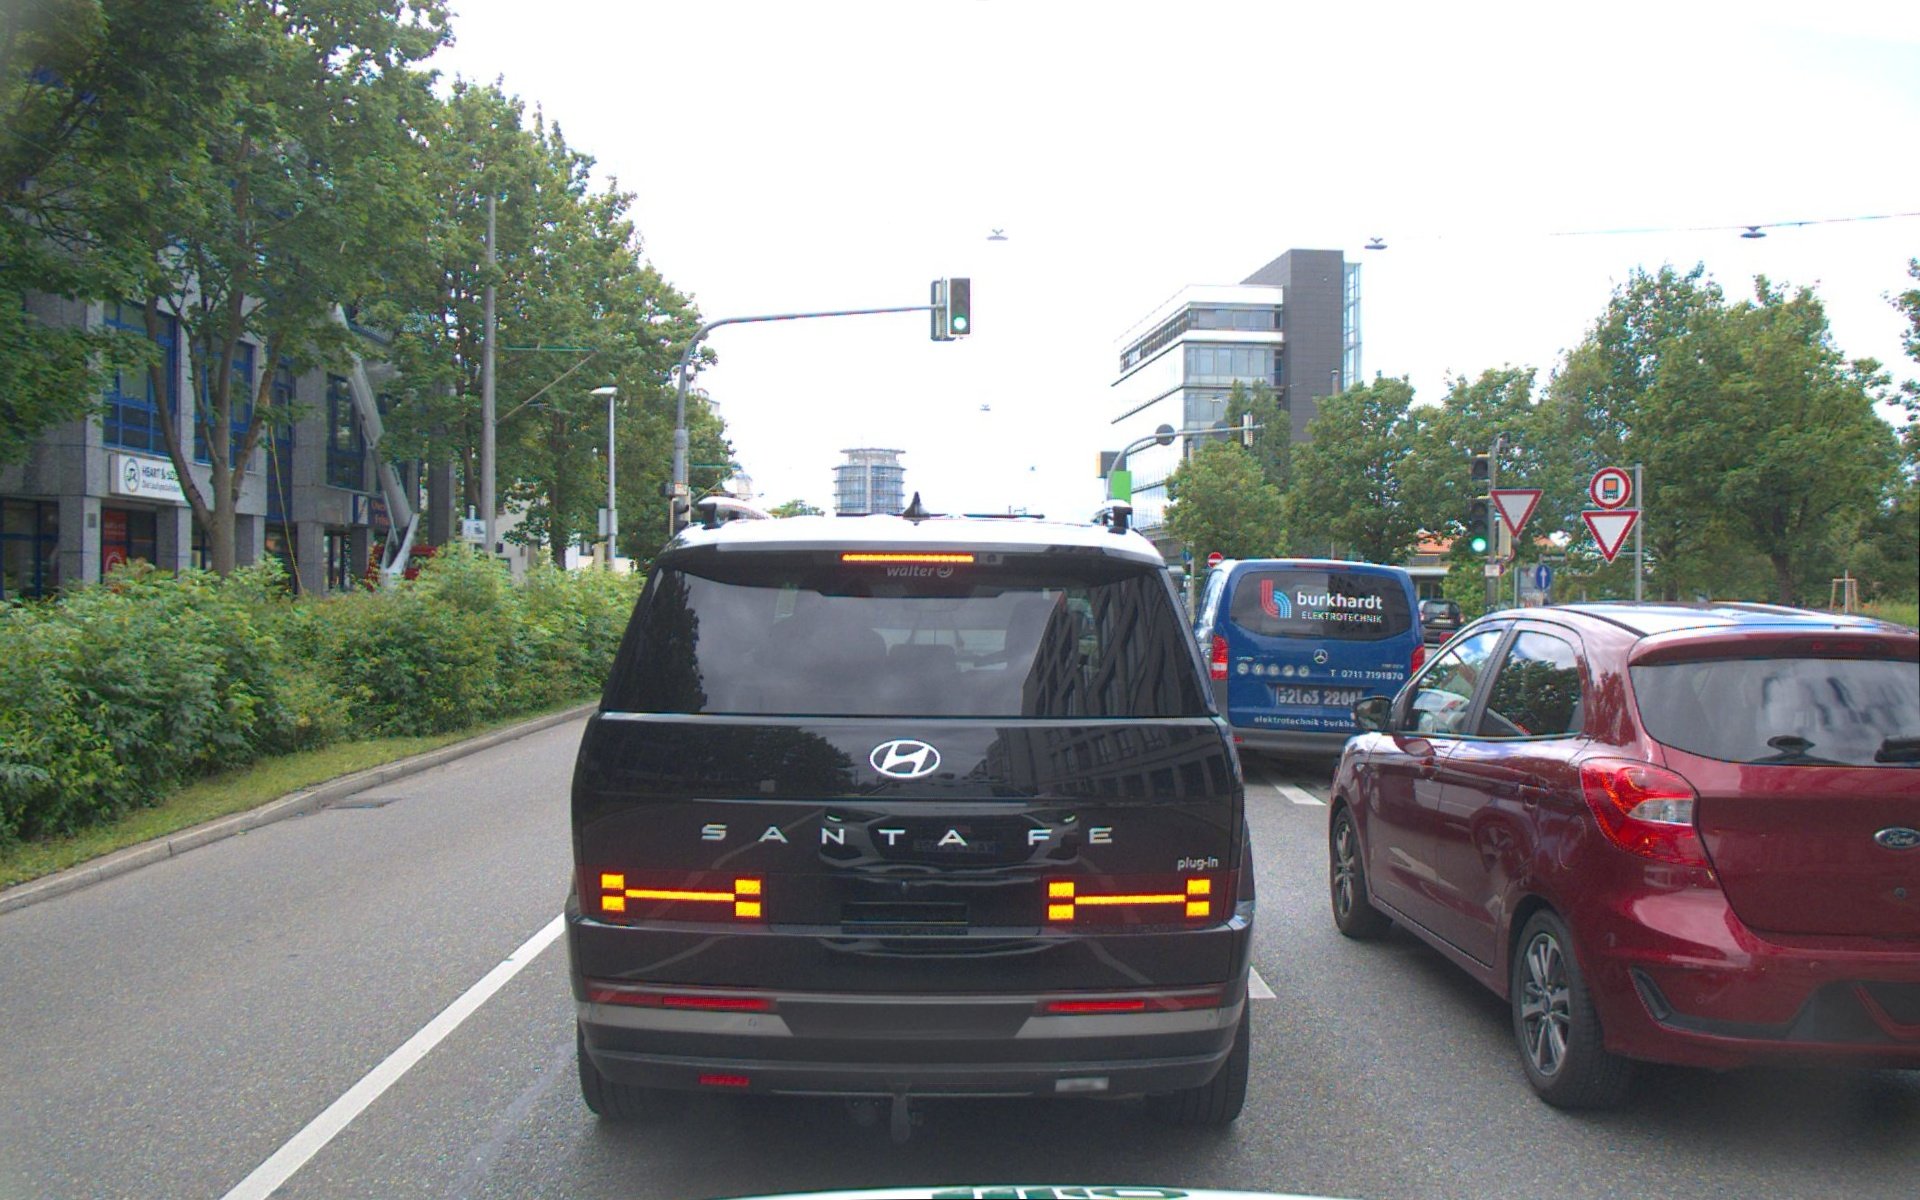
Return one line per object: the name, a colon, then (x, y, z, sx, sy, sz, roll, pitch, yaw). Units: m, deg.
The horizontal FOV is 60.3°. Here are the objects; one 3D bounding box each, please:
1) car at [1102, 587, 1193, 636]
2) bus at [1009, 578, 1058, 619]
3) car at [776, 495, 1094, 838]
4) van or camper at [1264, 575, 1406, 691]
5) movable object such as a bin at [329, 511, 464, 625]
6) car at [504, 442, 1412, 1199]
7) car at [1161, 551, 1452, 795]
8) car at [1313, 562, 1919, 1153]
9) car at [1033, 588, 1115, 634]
car: (6.754, 0.393, 60.050, 1.856, 1.591, 4.381, 2, 1, -13)
bus: (5.893, -0.072, 133.295, 2.908, 3.171, 9.236, -1, 0, -4)
car: (-0.014, 0.387, 12.306, 1.862, 2.003, 4.638, 2, 0, 3)
van or camper: (7.108, 0.542, 31.045, 1.953, 1.951, 4.409, 2, 1, 21)
movable object such as a bin: (-13.743, -0.770, 40.580, 1.867, 2.575, 4.126, 3, 1, -2)
car: (-0.033, 0.566, 5.701, 1.863, 1.762, 4.445, 2, 0, -1)
car: (3.060, 0.572, 15.598, 1.862, 1.891, 4.711, 2, 0, 2)
car: (2.614, 0.665, 6.132, 1.709, 1.507, 3.718, 1, 0, -1)
car: (3.996, 0.354, 58.655, 1.751, 1.450, 4.384, 2, 1, -11)
